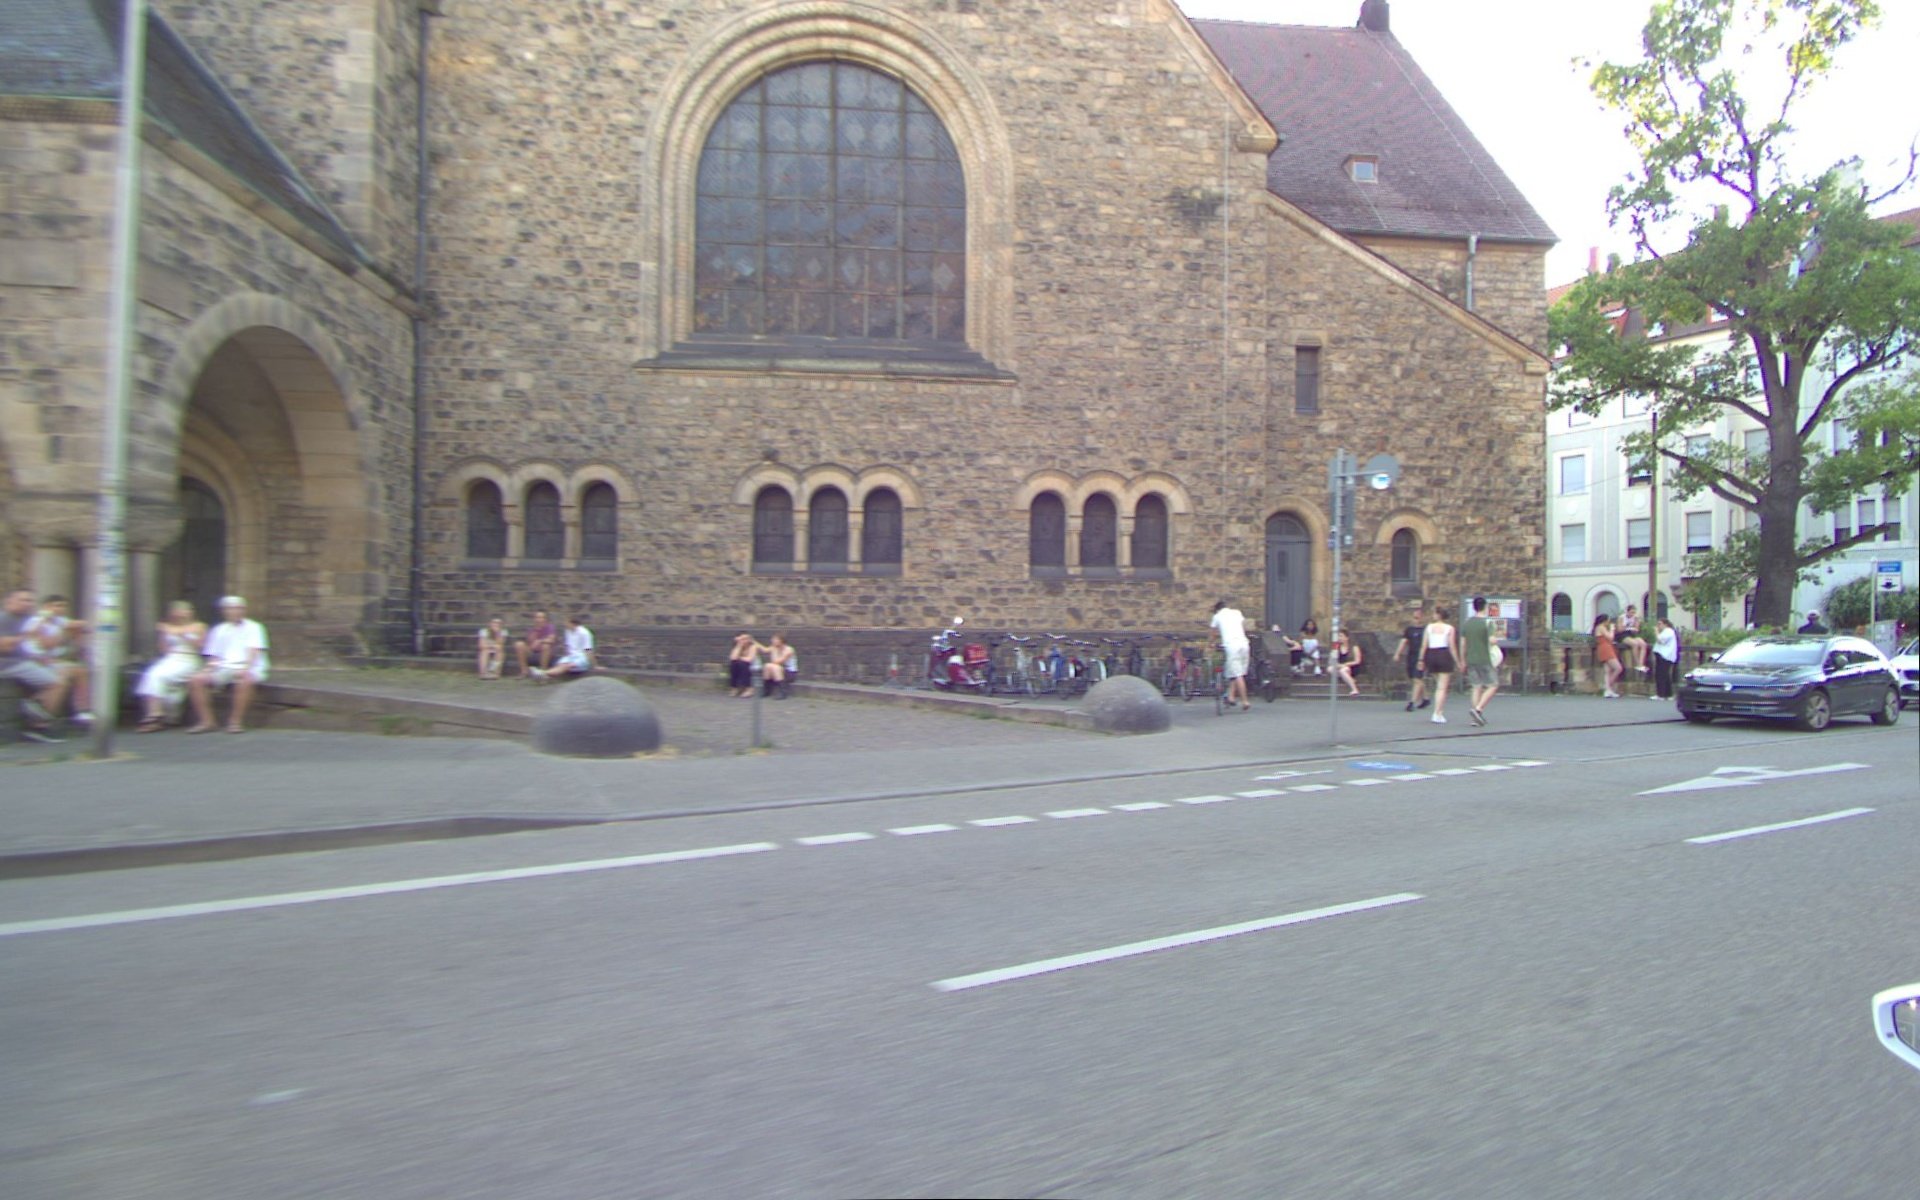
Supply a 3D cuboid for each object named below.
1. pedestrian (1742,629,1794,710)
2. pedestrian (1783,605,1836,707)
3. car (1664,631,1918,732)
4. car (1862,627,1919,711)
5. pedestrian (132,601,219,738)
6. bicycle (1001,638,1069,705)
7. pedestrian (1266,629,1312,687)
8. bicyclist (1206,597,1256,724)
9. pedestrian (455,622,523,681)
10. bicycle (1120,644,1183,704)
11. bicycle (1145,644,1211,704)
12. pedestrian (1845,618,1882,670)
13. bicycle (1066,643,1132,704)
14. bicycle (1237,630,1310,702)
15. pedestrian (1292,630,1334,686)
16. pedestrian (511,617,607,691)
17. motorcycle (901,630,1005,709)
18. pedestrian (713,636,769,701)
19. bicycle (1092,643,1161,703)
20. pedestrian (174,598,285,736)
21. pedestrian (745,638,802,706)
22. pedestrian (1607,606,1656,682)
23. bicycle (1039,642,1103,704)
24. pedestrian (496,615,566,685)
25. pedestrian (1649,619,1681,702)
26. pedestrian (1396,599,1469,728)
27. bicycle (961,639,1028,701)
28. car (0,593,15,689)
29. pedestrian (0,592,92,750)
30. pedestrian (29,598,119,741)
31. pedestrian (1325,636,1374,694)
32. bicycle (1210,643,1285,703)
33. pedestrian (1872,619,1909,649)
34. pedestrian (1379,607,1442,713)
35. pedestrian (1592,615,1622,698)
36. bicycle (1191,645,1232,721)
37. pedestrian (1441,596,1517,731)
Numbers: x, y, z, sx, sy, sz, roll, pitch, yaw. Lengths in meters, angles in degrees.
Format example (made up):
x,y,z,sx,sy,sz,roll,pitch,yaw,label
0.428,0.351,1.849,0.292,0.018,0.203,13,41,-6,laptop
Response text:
x,y,z,sx,sy,sz,roll,pitch,yaw,label
16.111,1.369,20.027,0.830,1.572,0.579,1,-1,-33,pedestrian
16.496,1.080,19.502,0.794,1.930,0.579,1,-2,-33,pedestrian
13.627,1.267,16.440,4.263,1.454,1.776,2,-2,-29,car
20.429,1.384,20.490,4.418,1.613,1.861,2,-2,-32,car
-8.446,0.738,10.828,0.449,1.425,0.548,0,-1,5,pedestrian
1.304,1.236,17.797,0.576,1.002,2.002,1,1,-14,bicycle
6.219,1.082,18.981,0.726,1.062,0.519,0,-1,31,pedestrian
4.260,0.920,15.780,0.694,1.905,0.943,1,0,17,bicyclist
-7.618,0.821,16.258,0.635,0.928,0.740,0,-2,21,pedestrian
3.420,1.302,18.106,0.364,1.002,1.879,1,-2,-14,bicycle
3.922,1.312,18.190,0.364,1.002,1.879,1,-2,-14,bicycle
30.579,1.495,33.989,0.827,1.743,0.702,1,-2,-32,pedestrian
2.453,1.281,17.963,0.458,1.002,2.003,1,-2,-14,bicycle
5.710,1.175,18.401,0.430,1.265,1.728,1,-2,-15,bicycle
6.807,1.114,19.399,0.596,1.062,0.498,1,-1,-9,pedestrian
-6.322,0.841,15.904,0.672,1.109,1.333,0,-2,21,pedestrian
-0.162,1.128,17.032,0.811,1.141,2.407,1,0,-25,motorcycle
-3.428,1.059,15.743,0.551,0.980,0.649,0,-2,27,pedestrian
2.966,1.284,18.069,0.458,1.002,1.985,1,-2,-14,bicycle
-7.853,0.704,10.824,0.619,1.425,0.704,0,-1,5,pedestrian
-2.876,1.098,15.521,0.551,1.004,0.695,0,-2,27,pedestrian
14.154,0.922,21.183,0.574,1.566,0.652,1,-1,-6,pedestrian
1.956,1.272,17.889,0.458,1.002,2.003,1,-2,-14,bicycle
-6.925,0.797,16.243,0.635,1.090,0.830,0,-2,21,pedestrian
14.337,1.223,20.442,0.407,1.643,0.548,0,-1,21,pedestrian
7.138,0.939,15.173,0.978,1.881,0.569,1,-1,-33,pedestrian
0.579,1.205,17.687,0.576,1.002,2.001,1,-2,-16,bicycle
-20.572,0.743,18.661,4.321,1.832,1.584,1,-2,-4,car
-8.921,0.669,9.698,0.546,1.472,0.551,0,-1,5,pedestrian
-9.064,0.699,10.287,0.537,1.425,0.402,0,-1,5,pedestrian
7.290,1.209,18.817,0.688,1.070,0.516,1,-1,-13,pedestrian
5.207,1.303,18.287,0.434,1.002,1.879,1,-2,-14,bicycle
30.908,1.132,33.356,0.827,0.993,0.702,2,-2,-32,pedestrian
7.604,1.003,16.971,0.683,1.748,0.711,1,-2,-29,pedestrian
13.523,1.172,20.998,0.407,1.696,0.548,0,-1,21,pedestrian
3.963,1.260,15.737,0.542,1.026,2.189,1,0,16,bicycle
7.620,0.912,14.755,0.882,1.904,0.643,1,-1,-33,pedestrian
